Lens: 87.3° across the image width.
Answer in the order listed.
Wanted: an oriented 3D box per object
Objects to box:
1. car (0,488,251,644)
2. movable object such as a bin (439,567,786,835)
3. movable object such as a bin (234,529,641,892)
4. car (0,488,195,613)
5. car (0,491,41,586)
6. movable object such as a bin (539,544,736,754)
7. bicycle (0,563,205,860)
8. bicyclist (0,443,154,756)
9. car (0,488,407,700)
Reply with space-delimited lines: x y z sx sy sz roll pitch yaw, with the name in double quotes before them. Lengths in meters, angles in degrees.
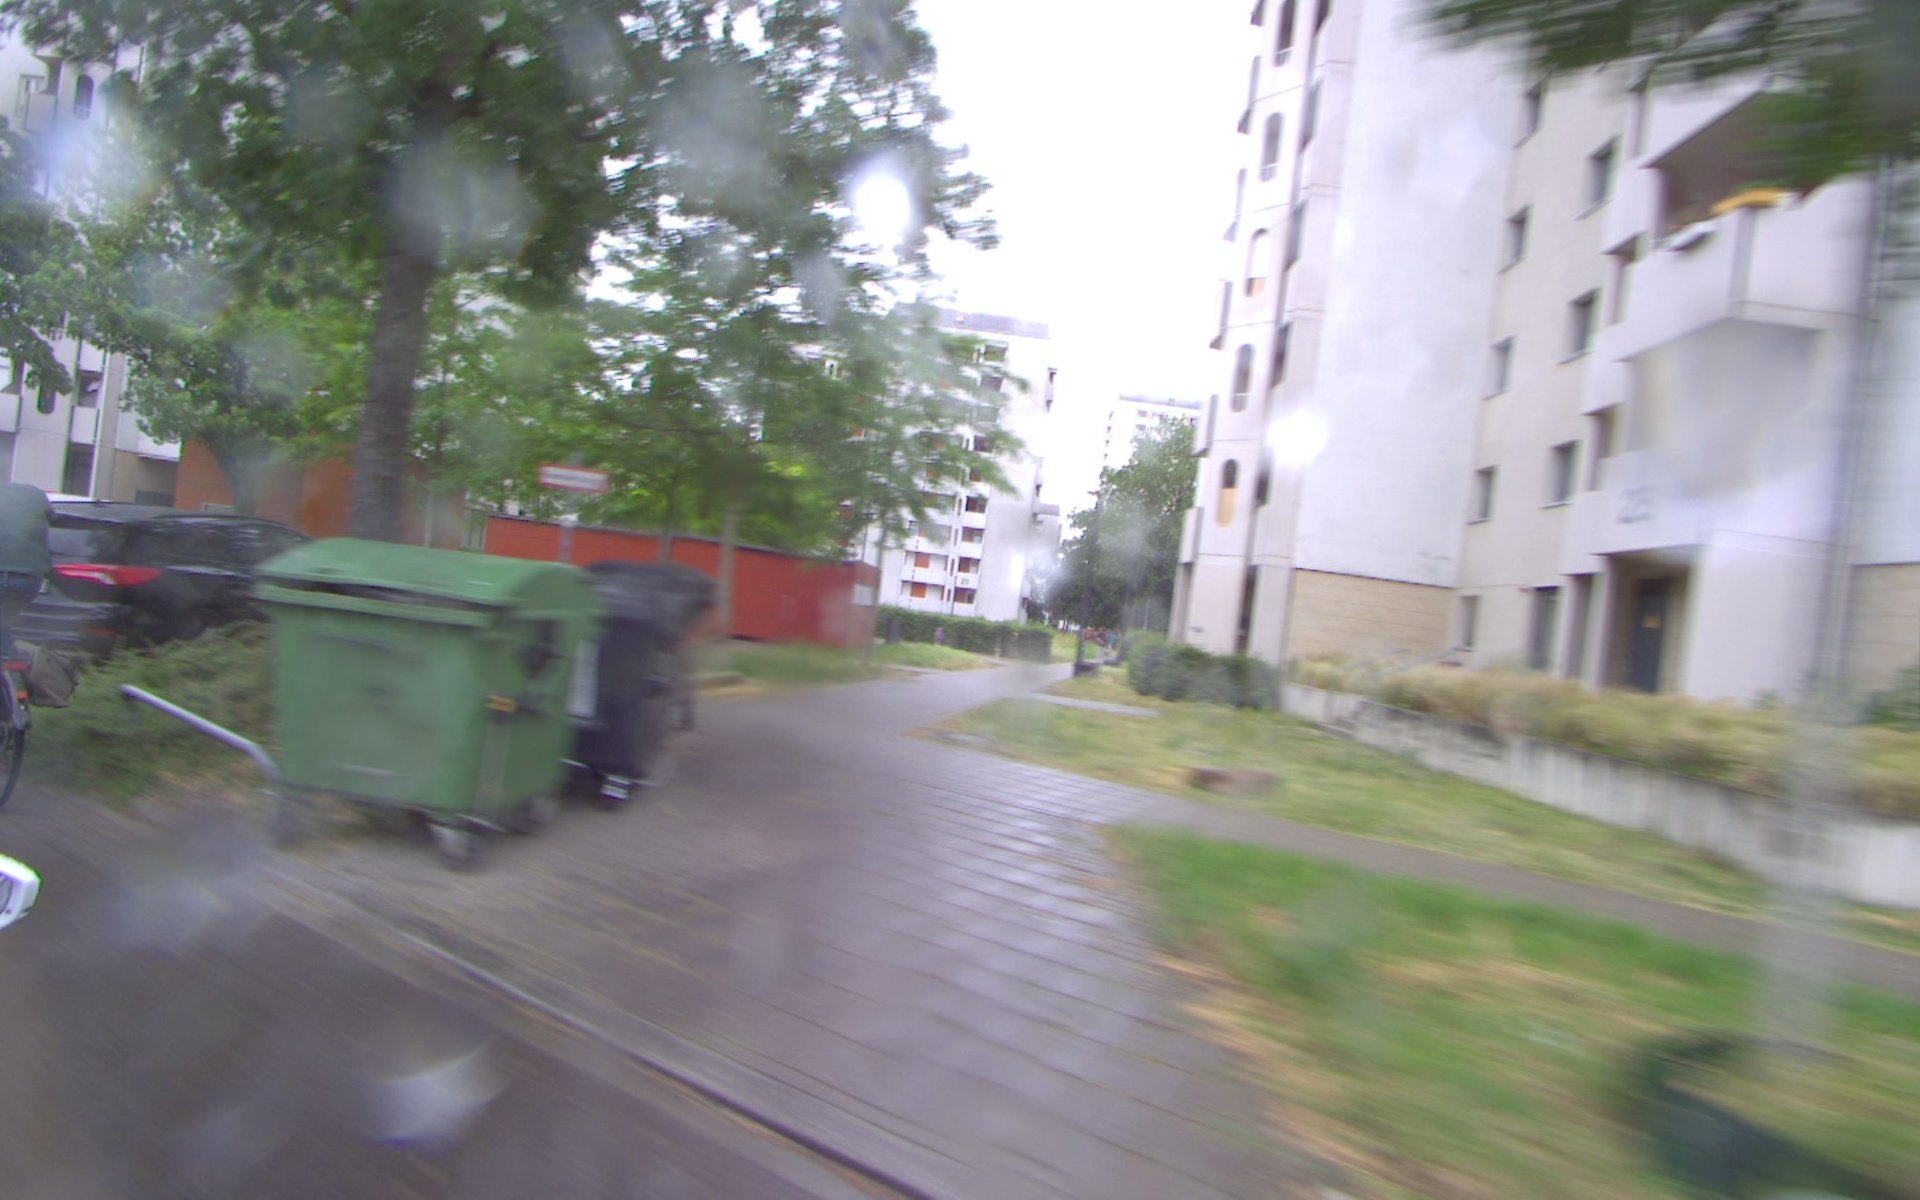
"car" -10.336 -0.425 11.533 1.557 1.537 4.039 7 0 -3
"movable object such as a bin" -2.149 0.556 6.552 1.374 1.343 1.686 7 2 10
"movable object such as a bin" -2.585 0.457 5.112 1.374 1.479 1.127 7 6 10
"car" -12.673 -0.695 13.609 1.557 1.537 4.039 7 0 -3
"car" -15.237 -1.009 14.076 1.560 1.460 4.031 7 0 -12
"movable object such as a bin" -2.696 0.386 8.581 1.068 1.539 1.247 7 1 4
"bicycle" -4.955 0.433 5.082 2.474 1.110 0.811 7 1 29
"bicyclist" -4.829 -0.039 5.027 1.042 1.451 0.811 7 1 28
"car" -7.577 -0.085 9.996 1.844 1.537 4.225 7 0 -3
